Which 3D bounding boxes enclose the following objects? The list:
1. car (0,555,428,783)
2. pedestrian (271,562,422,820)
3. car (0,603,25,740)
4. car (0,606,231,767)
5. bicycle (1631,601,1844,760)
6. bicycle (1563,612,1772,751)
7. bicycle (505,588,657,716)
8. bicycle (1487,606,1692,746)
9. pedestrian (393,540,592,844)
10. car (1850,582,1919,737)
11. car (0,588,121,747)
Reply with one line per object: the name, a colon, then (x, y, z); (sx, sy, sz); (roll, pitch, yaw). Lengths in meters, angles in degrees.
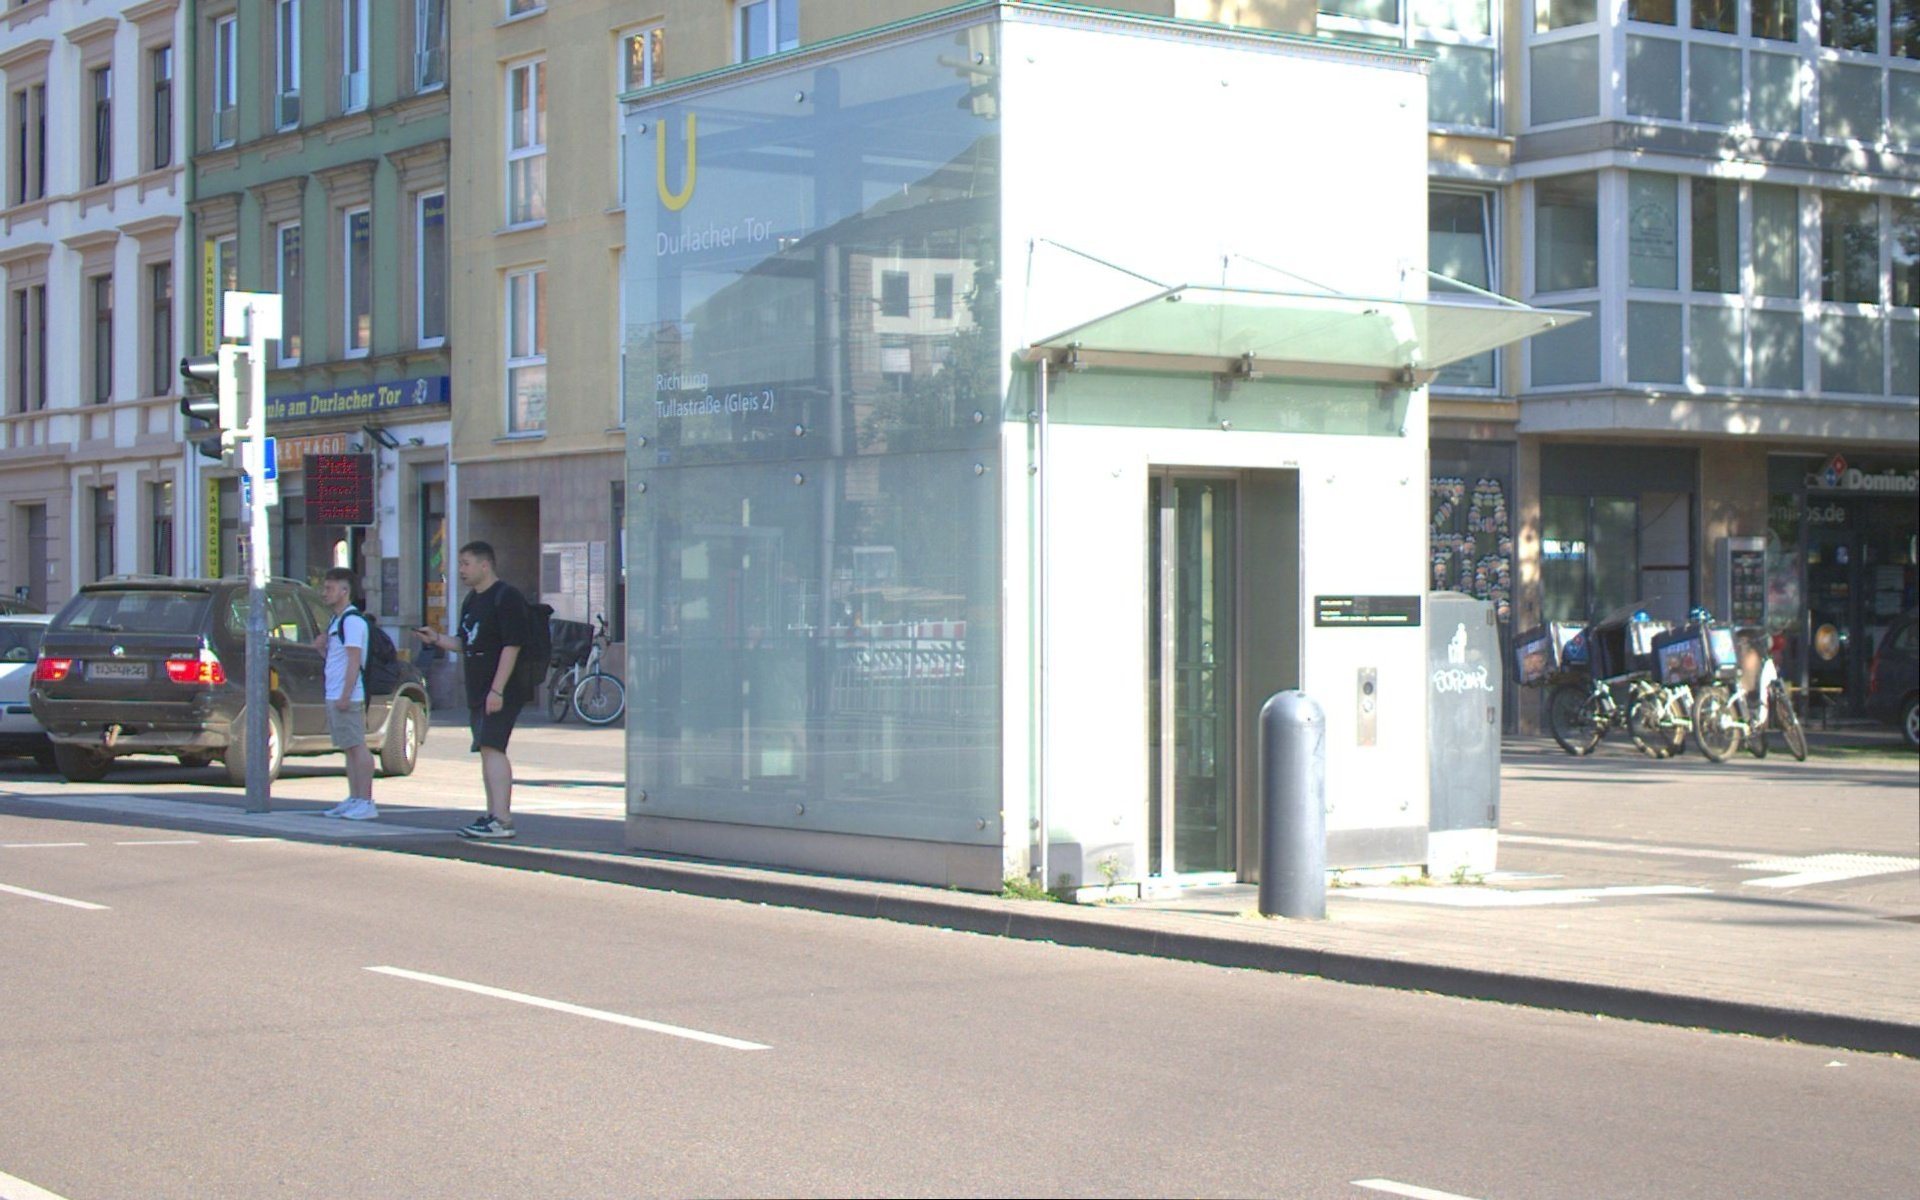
car: (-6.387, 0.581, 29.858); (1.955, 1.808, 4.248); (1, -1, 14)
pedestrian: (-4.191, 0.608, 23.476); (0.752, 1.722, 0.696); (0, 0, 39)
car: (-12.251, 0.781, 38.032); (1.955, 1.565, 4.249); (1, -1, 12)
car: (-8.452, 0.805, 32.118); (1.784, 1.395, 3.890); (1, -2, 12)
bicycle: (7.020, 0.707, 30.992); (1.992, 1.341, 0.815); (-2, 1, -40)
bicycle: (6.555, 0.735, 31.813); (1.992, 1.196, 0.815); (-2, 1, -40)
bicycle: (-4.498, 0.594, 40.613); (0.930, 1.352, 2.229); (-1, 3, -31)
bicycle: (5.990, 0.701, 32.655); (1.992, 1.244, 0.815); (-2, 1, -40)
pedestrian: (-2.719, 0.522, 20.040); (0.868, 1.722, 0.794); (0, 0, 24)
car: (11.015, 0.651, 33.598); (1.851, 1.477, 4.227); (-1, 3, -37)
car: (-10.415, 0.665, 34.991); (1.955, 1.592, 4.249); (1, -1, 12)
